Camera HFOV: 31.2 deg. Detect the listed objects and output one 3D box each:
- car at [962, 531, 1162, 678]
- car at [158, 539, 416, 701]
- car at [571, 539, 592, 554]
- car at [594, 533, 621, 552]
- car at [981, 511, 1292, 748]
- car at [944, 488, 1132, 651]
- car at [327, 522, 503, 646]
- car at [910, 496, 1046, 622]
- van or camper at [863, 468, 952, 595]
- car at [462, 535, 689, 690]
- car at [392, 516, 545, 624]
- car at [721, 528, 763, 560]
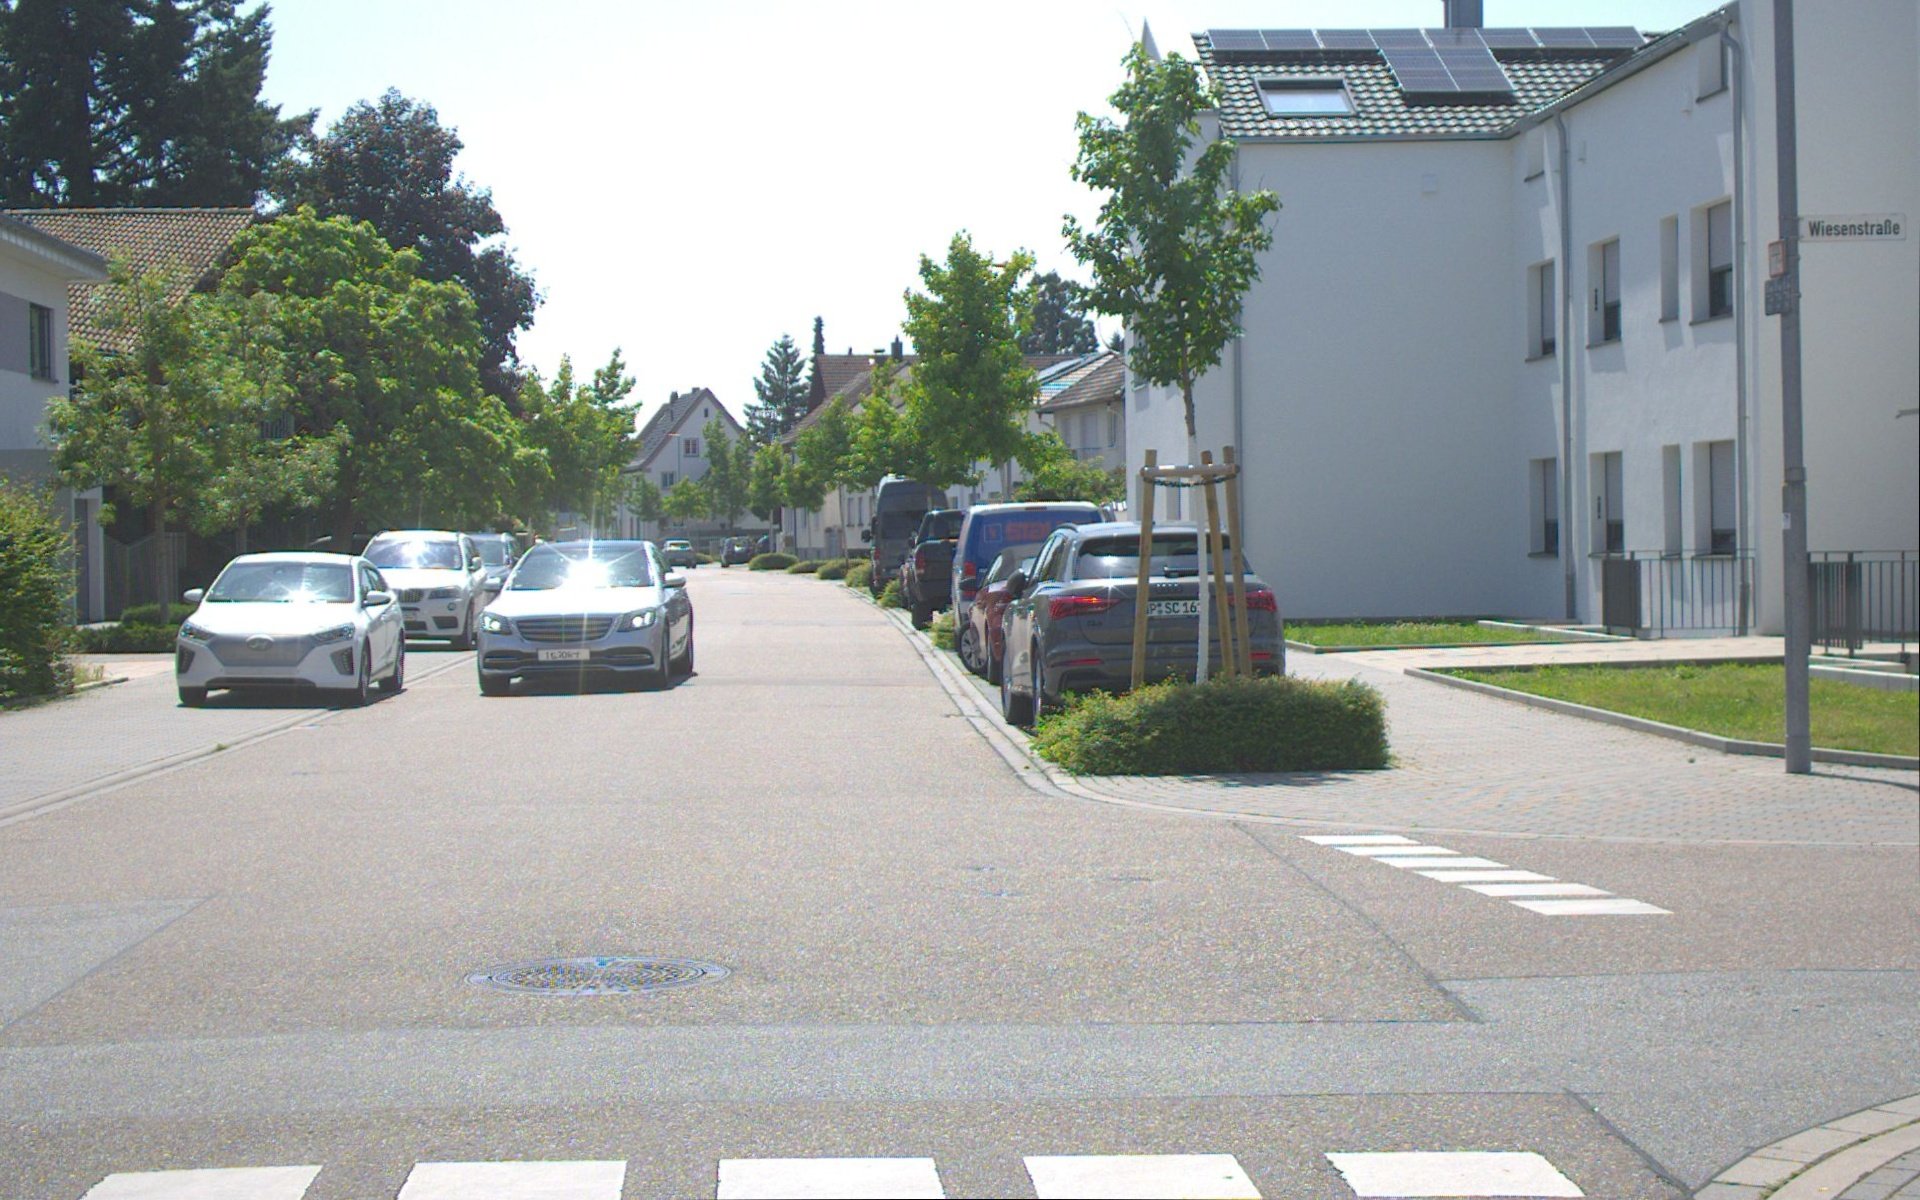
[{"bbox_3d":[1.018,0.006,36.239,1.679,1.437,4.027,-1,1,-4],"label":"car"},{"bbox_3d":[-6.679,0.150,34.549,1.852,1.483,4.386,-1,1,-2],"label":"car"},{"bbox_3d":[-26.954,-3.807,244.855,1.188,1.067,3.054,-2,1,-11],"label":"car"},{"bbox_3d":[-24.194,-3.958,236.050,1.663,1.246,3.933,-1,1,-8],"label":"car"},{"bbox_3d":[1.254,0.160,26.213,1.773,1.590,4.280,-2,1,-4],"label":"car"},{"bbox_3d":[0.905,-0.407,42.777,2.099,1.875,4.843,-1,1,-1],"label":"car"},{"bbox_3d":[-7.784,-0.266,49.463,1.927,1.681,4.499,-1,1,-2],"label":"car"},{"bbox_3d":[0.254,-0.706,57.108,1.993,1.940,5.215,-2,1,-2],"label":"car"},{"bbox_3d":[-1.273,-1.630,81.984,1.993,2.931,4.001,0,1,-2],"label":"van or camper"},{"bbox_3d":[-3.928,0.074,35.824,1.853,1.473,4.700,-1,1,0],"label":"car"},{"bbox_3d":[-7.946,-0.516,55.883,1.993,1.674,4.215,-1,1,-2],"label":"car"},{"bbox_3d":[-11.133,-2.893,175.880,1.993,1.568,4.001,-1,1,-2],"label":"car"}]
